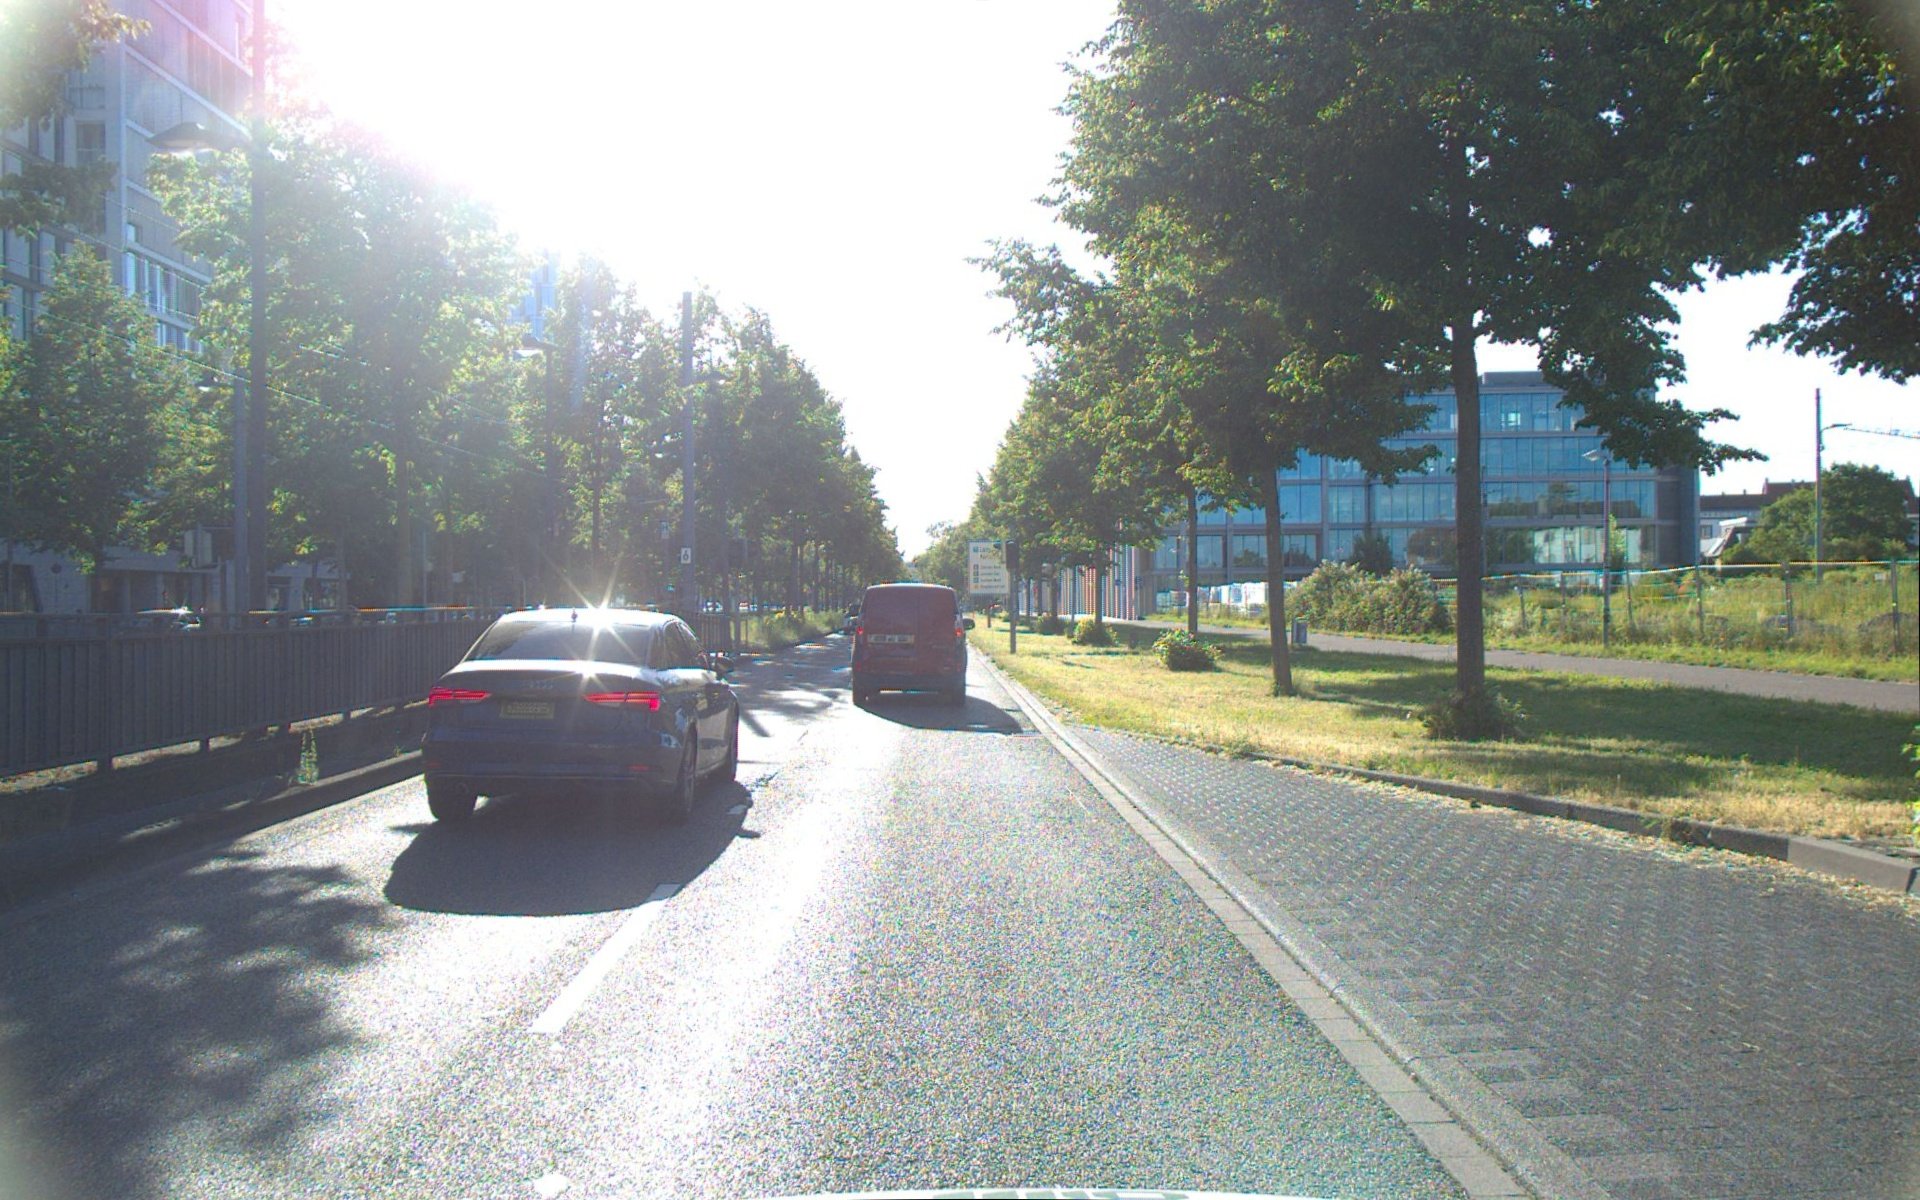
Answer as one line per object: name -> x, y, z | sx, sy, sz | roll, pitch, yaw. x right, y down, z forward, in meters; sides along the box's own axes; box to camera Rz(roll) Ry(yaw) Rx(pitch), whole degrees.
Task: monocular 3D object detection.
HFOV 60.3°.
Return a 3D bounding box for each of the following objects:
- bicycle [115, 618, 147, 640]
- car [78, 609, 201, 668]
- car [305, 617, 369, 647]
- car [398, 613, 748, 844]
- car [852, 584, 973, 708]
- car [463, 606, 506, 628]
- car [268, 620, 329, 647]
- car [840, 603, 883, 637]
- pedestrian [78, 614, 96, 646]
bicycle -> -39.362, 1.376, 78.569 | 0.530, 0.989, 1.982 | 0, -2, -2
car -> -22.914, 1.042, 46.324 | 1.645, 1.547, 3.699 | -1, 0, -2
car -> -32.533, 1.669, 86.541 | 1.634, 1.444, 4.803 | -1, 0, -2
car -> -2.628, 0.807, 12.187 | 1.686, 1.390, 4.144 | 1, -1, -2
car -> -0.792, 0.709, 26.248 | 1.762, 1.808, 3.997 | 0, -1, -3
car -> -32.865, 1.179, 114.449 | 1.680, 1.445, 4.544 | -1, 0, -1
car -> -32.242, 1.619, 80.694 | 1.634, 1.228, 3.581 | -1, 0, -2
car -> -4.557, 0.907, 76.462 | 1.904, 1.466, 3.997 | -1, 0, -3
pedestrian -> -38.597, 1.330, 73.128 | 0.399, 1.437, 0.690 | 0, -2, -1
